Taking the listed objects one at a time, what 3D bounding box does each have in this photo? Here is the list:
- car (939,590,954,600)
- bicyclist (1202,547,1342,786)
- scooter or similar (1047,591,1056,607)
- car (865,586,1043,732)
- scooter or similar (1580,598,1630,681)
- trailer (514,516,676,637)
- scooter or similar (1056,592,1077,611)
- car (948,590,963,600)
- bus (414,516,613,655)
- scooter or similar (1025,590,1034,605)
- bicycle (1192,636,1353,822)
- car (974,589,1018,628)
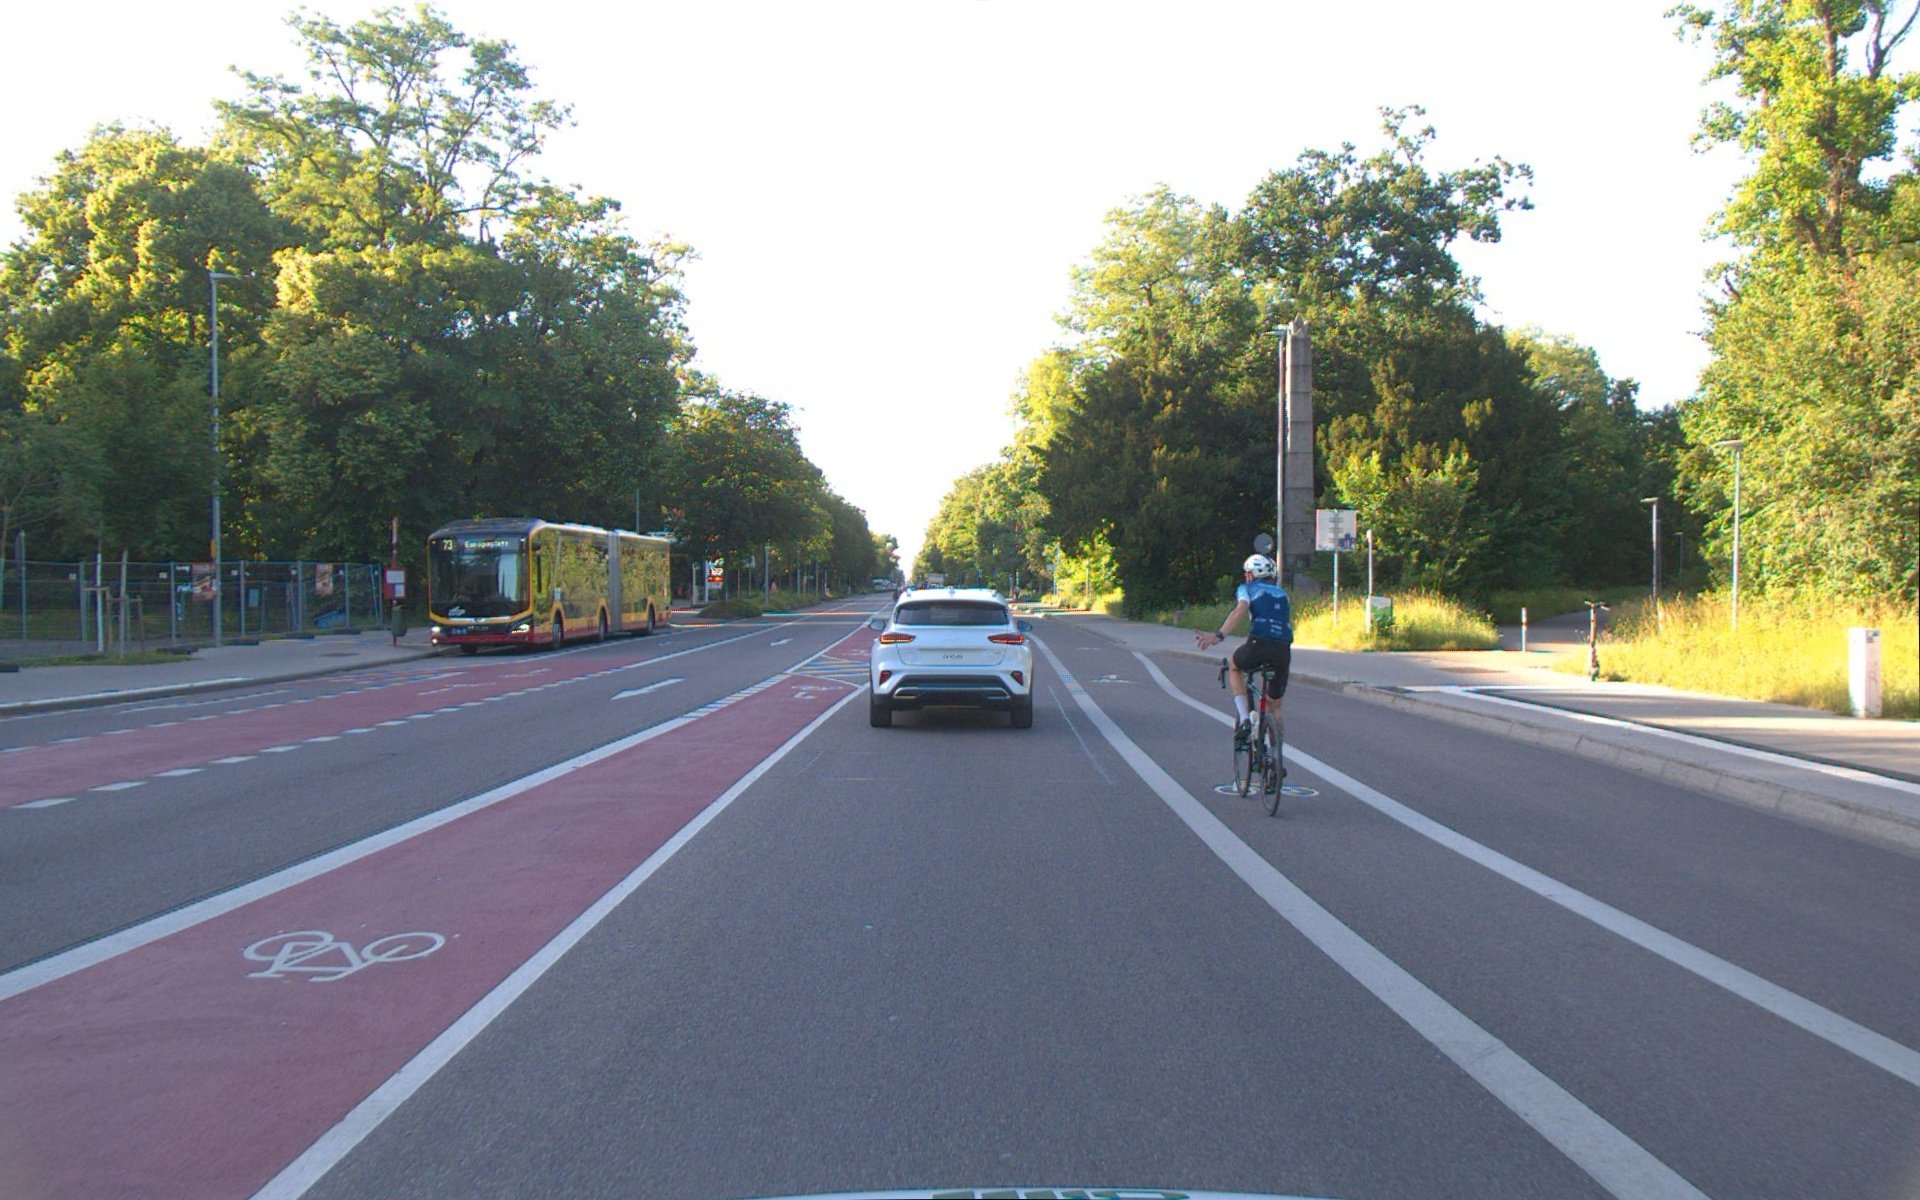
[{"bbox_3d":[-2.075,-0.761,251.509,1.955,1.350,3.996,-1,0,-5],"label":"car"},{"bbox_3d":[2.172,0.444,11.608,0.842,1.594,0.881,1,0,4],"label":"bicyclist"},{"bbox_3d":[7.068,-0.074,127.835,0.522,1.272,1.541,0,0,-1],"label":"scooter or similar"},{"bbox_3d":[-0.164,0.604,19.149,1.727,1.485,3.814,1,0,-5],"label":"car"},{"bbox_3d":[10.209,0.610,26.173,0.707,1.269,1.328,0,0,22],"label":"scooter or similar"},{"bbox_3d":[-11.355,-0.686,52.482,2.796,3.414,9.363,2,0,1],"label":"trailer"},{"bbox_3d":[7.101,0.108,109.982,1.530,1.272,0.526,-1,0,-45],"label":"scooter or similar"},{"bbox_3d":[-0.662,-0.669,235.846,1.953,1.350,3.999,-1,0,-2],"label":"car"},{"bbox_3d":[-11.504,-0.371,43.541,2.782,3.252,8.600,-1,0,1],"label":"bus"},{"bbox_3d":[6.463,-0.239,153.590,0.668,1.448,1.681,0,0,-2],"label":"scooter or similar"},{"bbox_3d":[2.171,0.857,11.780,0.872,1.114,2.137,1,1,4],"label":"bicycle"},{"bbox_3d":[1.421,0.300,64.471,1.641,1.442,3.575,-1,0,2],"label":"car"}]
